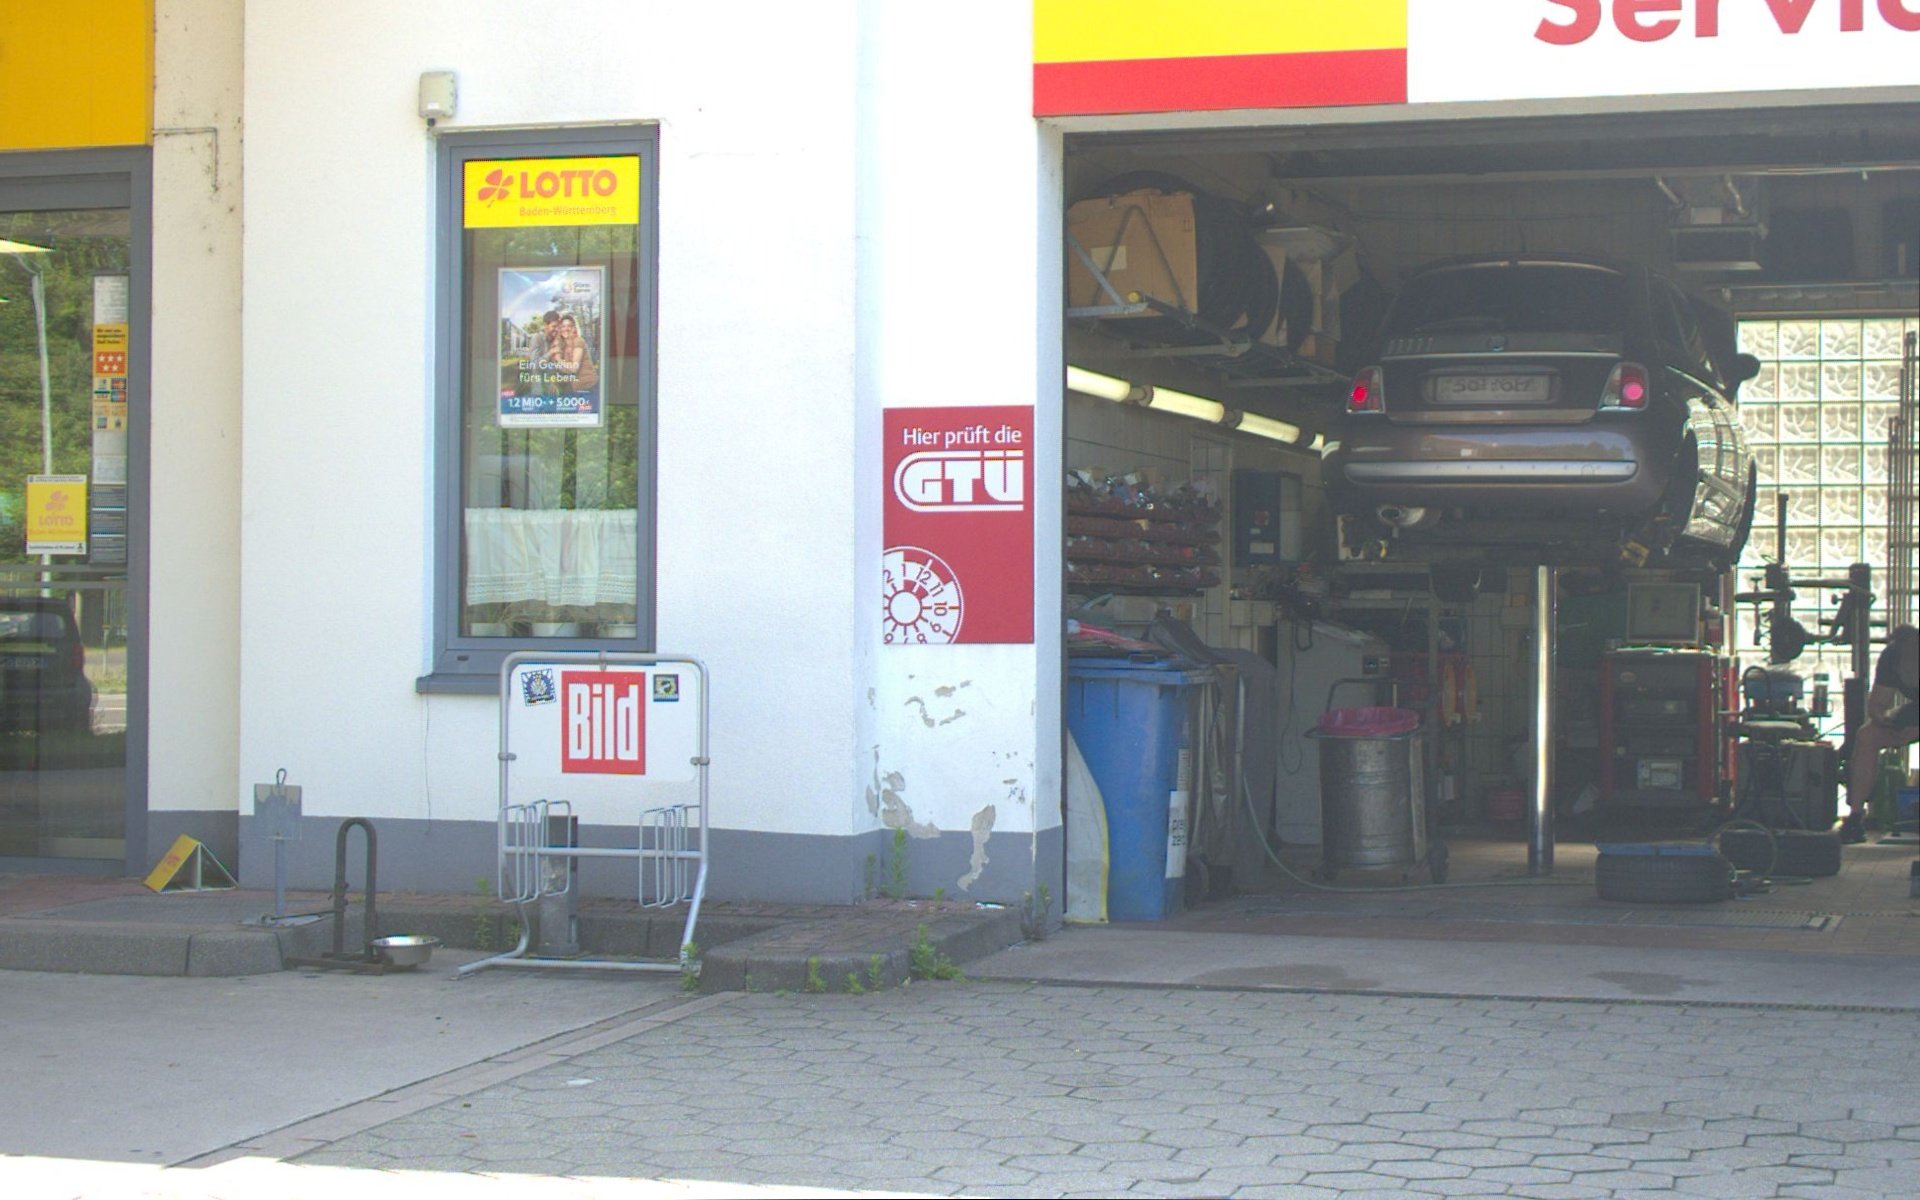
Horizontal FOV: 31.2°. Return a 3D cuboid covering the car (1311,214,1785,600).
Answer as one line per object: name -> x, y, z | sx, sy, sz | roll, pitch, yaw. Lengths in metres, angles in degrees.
car -> 2.964, -0.817, 16.668 | 1.648, 1.481, 3.996 | 0, -2, 19

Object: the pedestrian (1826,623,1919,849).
pedestrian -> 5.131, 0.730, 18.549 | 0.864, 1.194, 0.742 | 0, -2, 16
